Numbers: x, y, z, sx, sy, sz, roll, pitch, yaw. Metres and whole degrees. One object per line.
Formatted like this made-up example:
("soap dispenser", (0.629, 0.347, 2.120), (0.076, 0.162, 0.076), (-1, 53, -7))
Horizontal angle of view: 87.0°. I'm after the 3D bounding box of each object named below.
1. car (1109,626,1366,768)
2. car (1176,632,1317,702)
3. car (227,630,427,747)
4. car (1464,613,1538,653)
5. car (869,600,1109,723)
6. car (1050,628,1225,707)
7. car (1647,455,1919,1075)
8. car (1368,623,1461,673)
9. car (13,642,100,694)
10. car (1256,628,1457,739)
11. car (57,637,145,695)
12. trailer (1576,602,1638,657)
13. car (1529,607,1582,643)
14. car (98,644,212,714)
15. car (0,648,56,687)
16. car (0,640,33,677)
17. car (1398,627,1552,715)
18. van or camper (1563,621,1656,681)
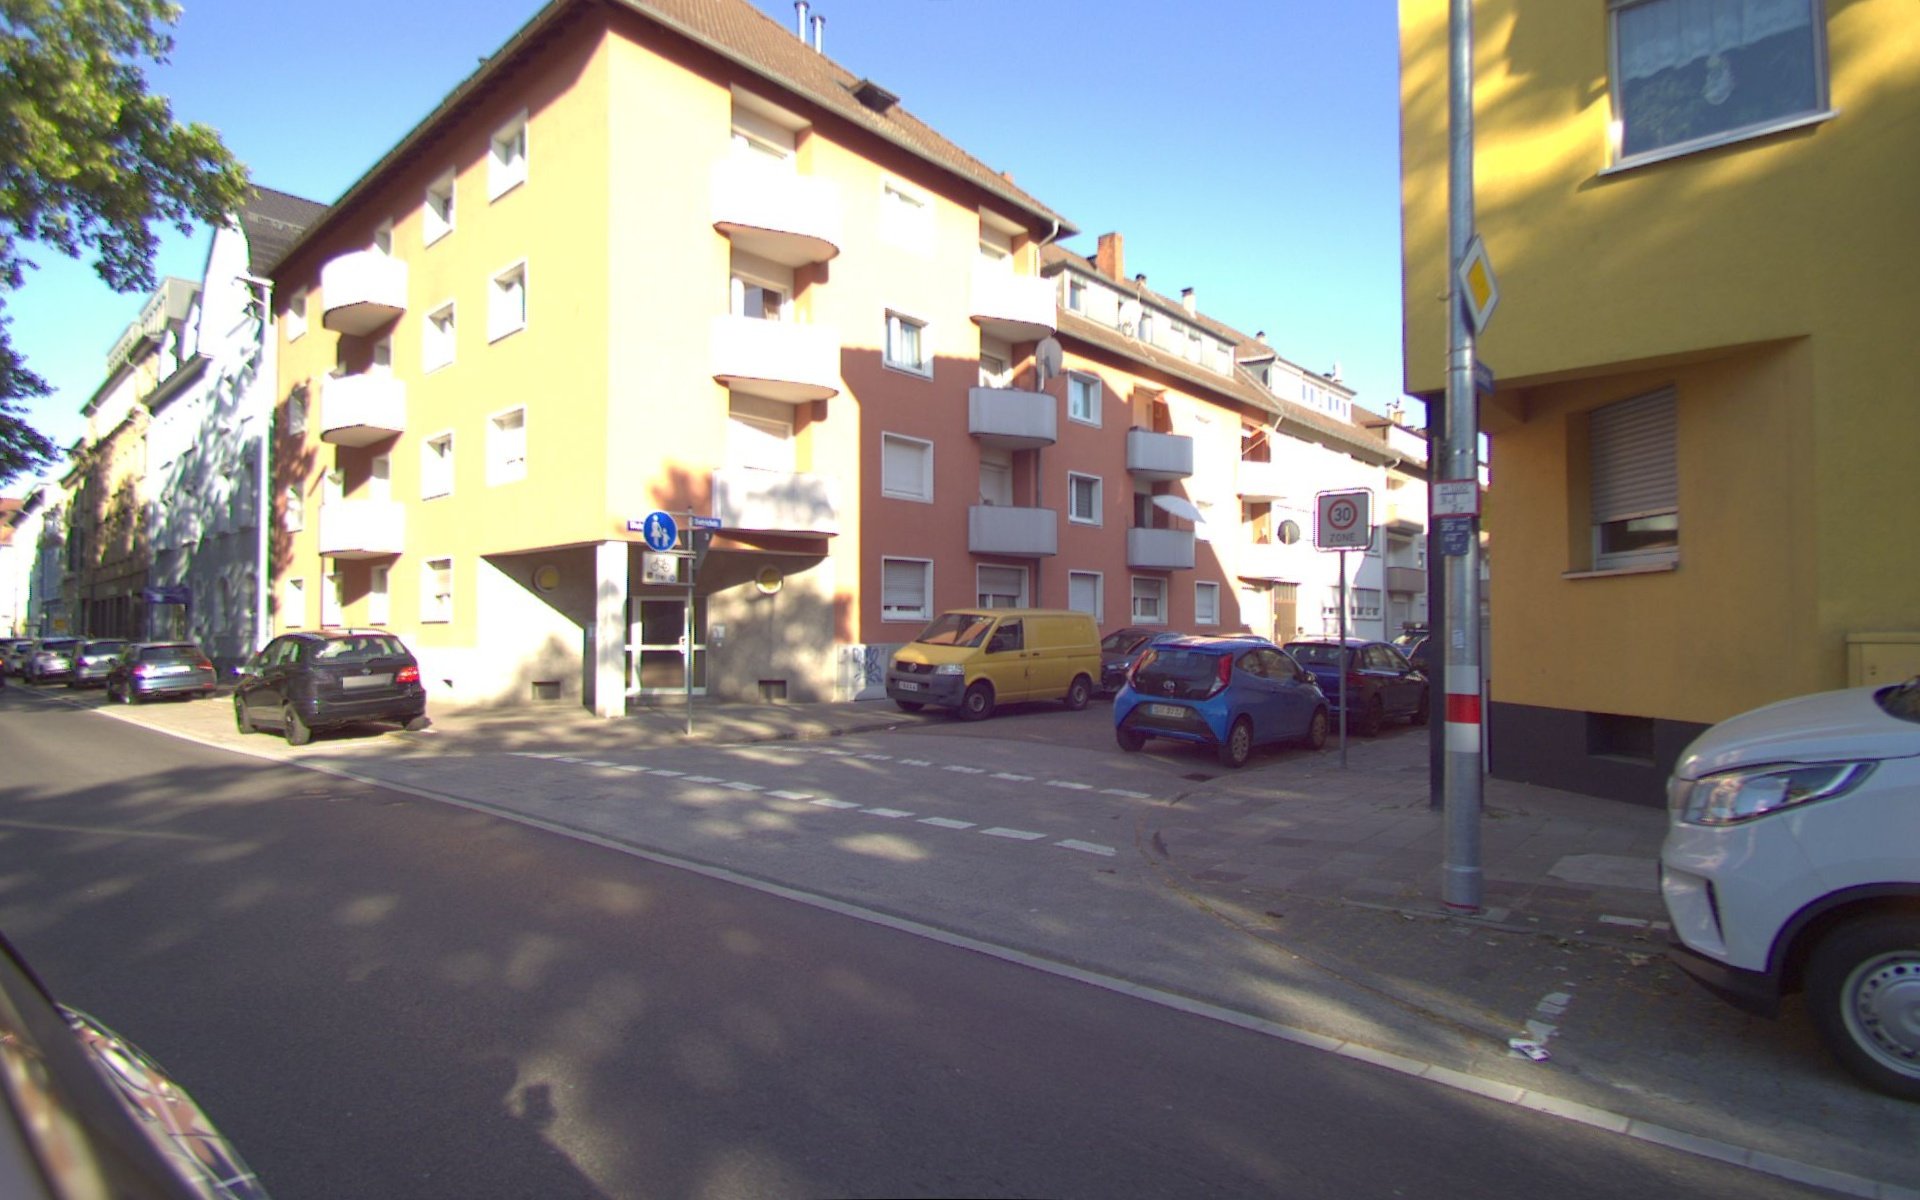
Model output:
("car", (3.740, 1.162, 13.295), (1.748, 1.579, 3.743), (-3, -3, 42))
("car", (7.765, 1.744, 27.236), (1.919, 1.711, 4.246), (-3, -3, 43))
("car", (-9.895, 1.293, 15.687), (4.021, 1.535, 1.659), (-3, -2, 43))
("car", (24.984, 1.549, 46.663), (1.919, 1.782, 4.246), (-3, -3, 43))
("car", (0.665, 1.112, 19.145), (1.919, 2.029, 4.694), (-3, -3, 43))
("car", (4.195, 1.504, 23.462), (1.919, 1.638, 4.400), (-3, -3, 43))
("car", (4.969, 0.444, 2.476), (5.207, 1.921, 1.715), (-3, -2, 42))
("car", (17.333, 1.797, 38.478), (1.919, 1.782, 4.246), (-3, -3, 43))
("car", (-31.701, 2.340, 35.456), (4.577, 1.654, 1.887), (-3, -2, 43))
("car", (6.533, 1.273, 16.469), (1.748, 1.579, 3.947), (-3, -3, 42))
("car", (-27.099, 2.041, 31.885), (3.984, 1.654, 1.659), (-3, -2, 43))
("trailer", (36.463, 1.598, 56.956), (2.239, 2.915, 5.068), (-1, 0, 41))
("car", (35.217, 1.448, 59.821), (1.999, 2.029, 3.945), (-1, -1, 42))
("car", (-19.542, 1.864, 24.517), (3.601, 1.497, 1.659), (-3, -2, 43))
("car", (-39.717, 2.855, 42.958), (3.872, 1.508, 1.659), (-3, -2, 43))
("car", (-44.449, 2.723, 47.093), (4.200, 1.597, 1.659), (-3, -2, 43))
("car", (10.360, 1.360, 20.238), (1.748, 1.579, 3.947), (-3, -3, 42))
("van or camper", (20.903, 1.612, 32.522), (1.870, 1.784, 4.232), (-3, -3, 41))
